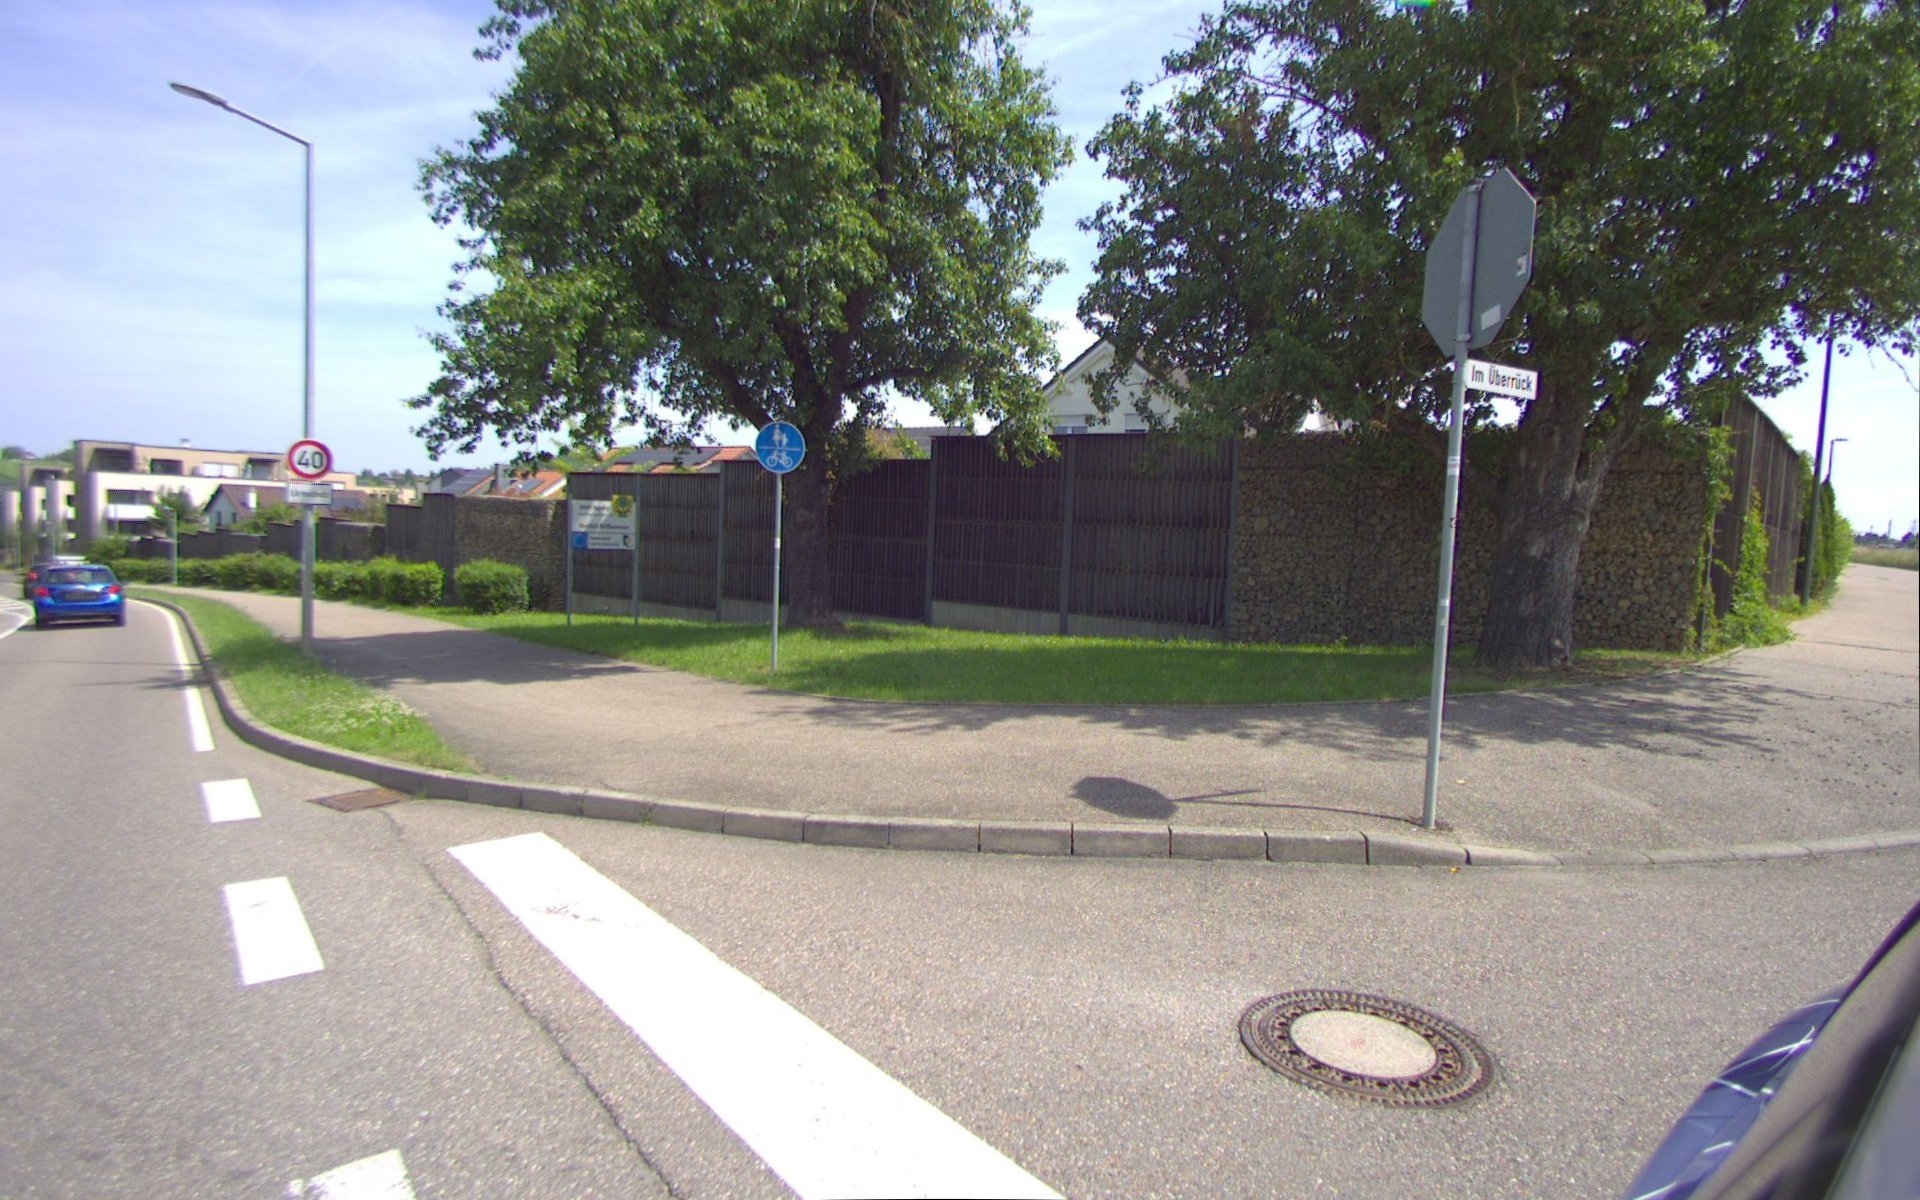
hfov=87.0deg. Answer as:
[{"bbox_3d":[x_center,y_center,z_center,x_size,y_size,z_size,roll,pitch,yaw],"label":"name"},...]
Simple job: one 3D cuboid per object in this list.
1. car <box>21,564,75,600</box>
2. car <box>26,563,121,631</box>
[{"bbox_3d":[-42.209,-0.866,46.817,1.799,1.600,3.991,-1,2,-43],"label":"car"},{"bbox_3d":[-21.855,-0.121,24.915,1.587,1.510,3.840,-3,4,-43],"label":"car"}]
